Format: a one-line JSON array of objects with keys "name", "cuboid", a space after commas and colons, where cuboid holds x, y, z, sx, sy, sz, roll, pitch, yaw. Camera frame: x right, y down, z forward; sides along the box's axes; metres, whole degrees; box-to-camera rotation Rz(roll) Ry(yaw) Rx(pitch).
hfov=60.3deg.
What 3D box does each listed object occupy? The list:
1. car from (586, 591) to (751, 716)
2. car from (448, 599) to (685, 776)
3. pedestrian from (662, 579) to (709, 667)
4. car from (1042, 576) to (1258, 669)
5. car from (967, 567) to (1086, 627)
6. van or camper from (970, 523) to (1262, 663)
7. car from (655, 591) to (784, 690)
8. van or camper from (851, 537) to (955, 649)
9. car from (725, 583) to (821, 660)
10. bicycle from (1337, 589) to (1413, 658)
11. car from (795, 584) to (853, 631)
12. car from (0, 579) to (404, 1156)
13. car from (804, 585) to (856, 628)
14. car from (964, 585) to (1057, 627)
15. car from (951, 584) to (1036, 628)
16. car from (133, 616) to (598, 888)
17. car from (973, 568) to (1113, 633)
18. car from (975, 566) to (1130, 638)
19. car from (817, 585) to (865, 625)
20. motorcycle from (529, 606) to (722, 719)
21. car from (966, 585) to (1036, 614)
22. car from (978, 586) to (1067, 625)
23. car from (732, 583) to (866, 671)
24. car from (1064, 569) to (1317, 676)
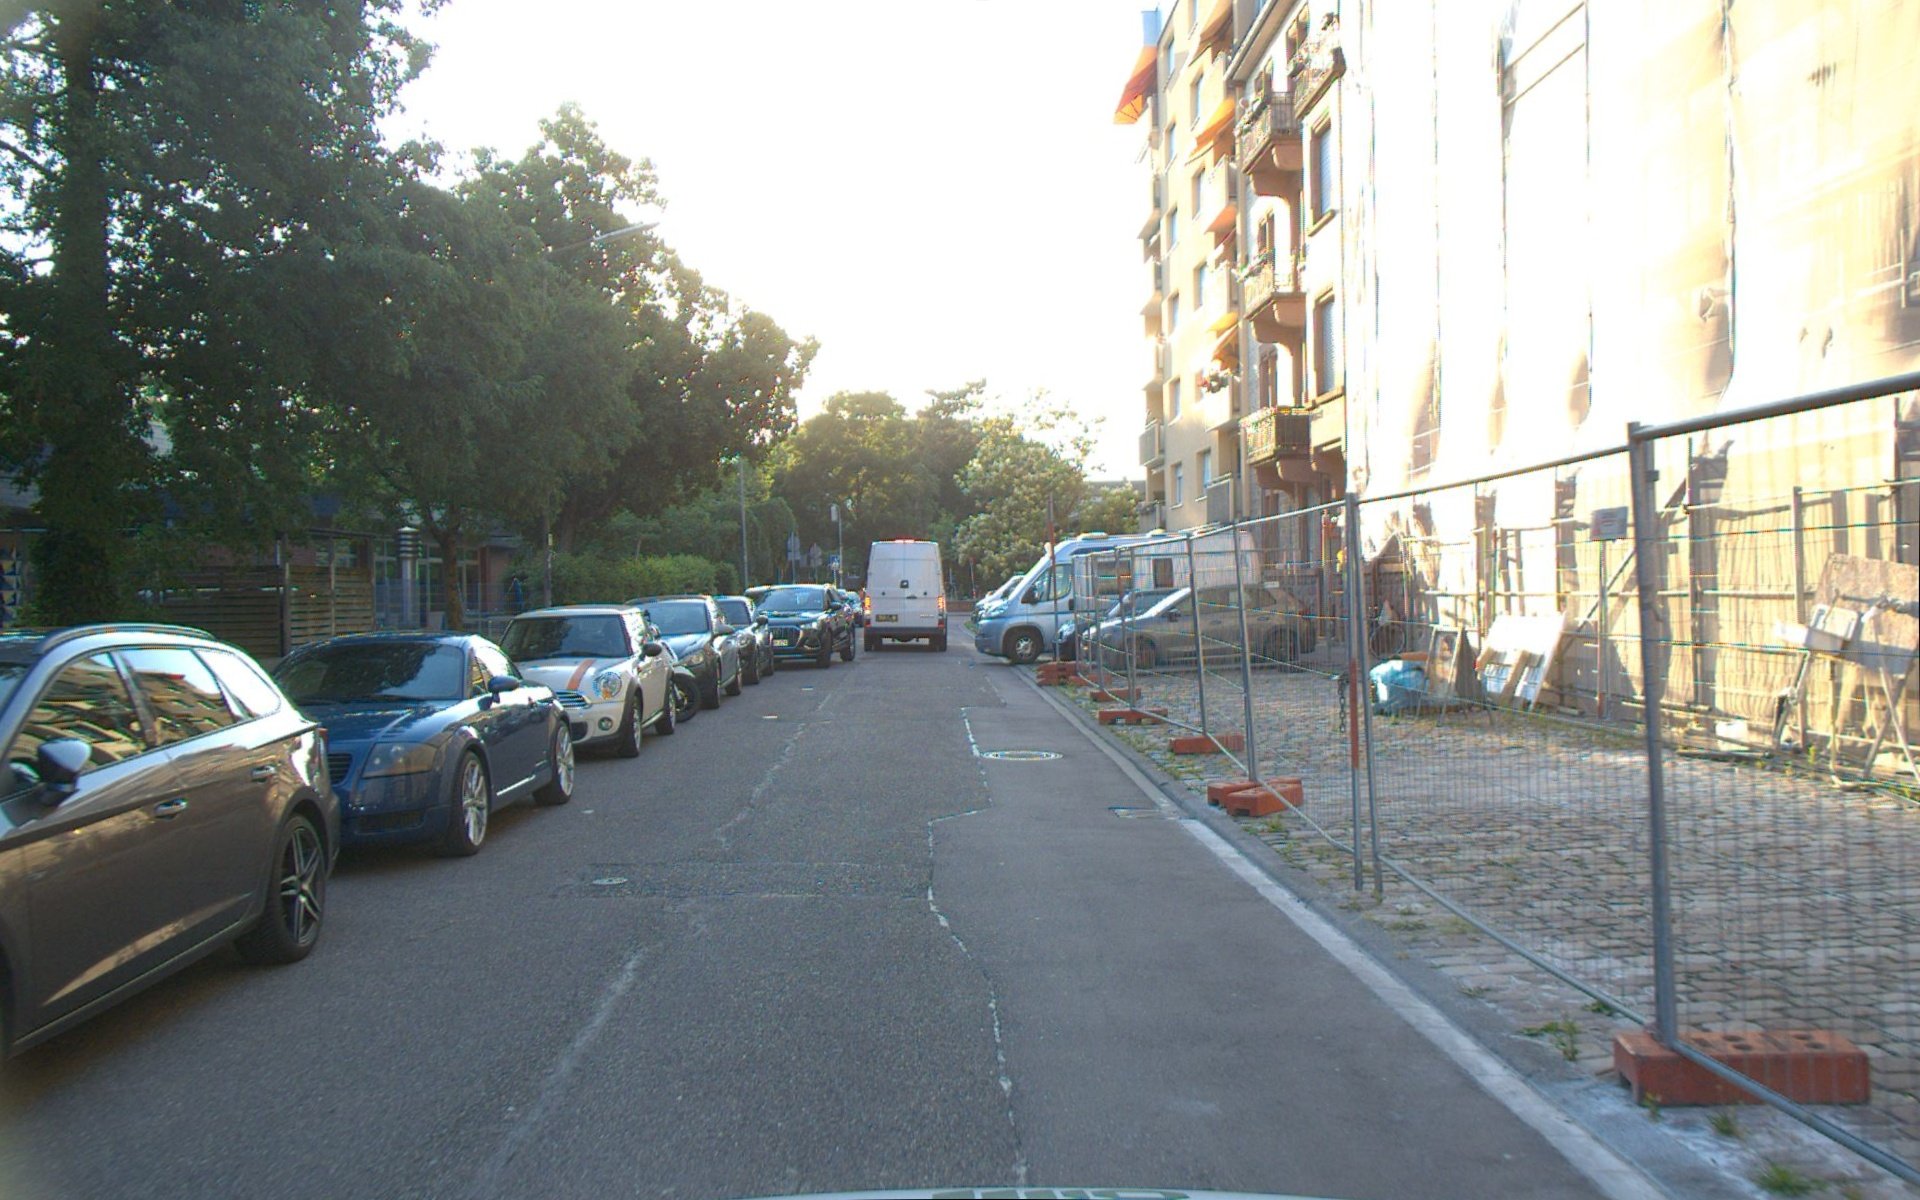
[{"name": "car", "cuboid": [-3.988, 0.668, 23.234, 1.681, 1.522, 4.358, -2, 0, -3]}, {"name": "car", "cuboid": [-3.830, 0.780, 16.676, 1.569, 1.456, 3.801, -4, 0, -3]}, {"name": "pedestrian", "cuboid": [-5.852, 0.480, 35.307, 0.919, 1.862, 0.786, 0, 0, -3]}, {"name": "car", "cuboid": [3.572, 0.432, 31.577, 3.855, 1.512, 1.786, -3, -1, -1]}, {"name": "car", "cuboid": [2.517, -0.125, 63.494, 4.405, 2.269, 2.031, 0, 0, -2]}, {"name": "van or camper", "cuboid": [3.156, -0.141, 34.362, 5.810, 2.818, 2.109, 0, 0, -3]}, {"name": "car", "cuboid": [-4.043, 0.632, 28.398, 1.604, 1.504, 3.992, -3, 0, -1]}, {"name": "van or camper", "cuboid": [-1.413, -0.194, 41.867, 2.404, 2.591, 6.081, 1, 0, -1]}, {"name": "car", "cuboid": [-4.455, 0.485, 39.901, 1.747, 1.659, 4.000, -3, 0, 0]}, {"name": "bicycle", "cuboid": [7.372, 0.399, 29.470, 0.618, 1.189, 2.031, 0, 0, -7]}, {"name": "car", "cuboid": [-4.892, 0.257, 59.960, 1.954, 1.646, 3.998, 0, 0, -3]}, {"name": "car", "cuboid": [-3.585, 0.752, 5.716, 1.822, 1.564, 4.757, -2, 0, -2]}, {"name": "car", "cuboid": [-5.069, 0.223, 64.958, 1.954, 1.646, 3.998, 0, 0, -3]}, {"name": "car", "cuboid": [2.156, 0.255, 71.508, 3.906, 1.758, 2.000, 0, 0, -1]}, {"name": "car", "cuboid": [1.531, 0.263, 76.893, 3.905, 2.049, 2.000, 0, 0, 0]}, {"name": "car", "cuboid": [-3.686, 0.847, 11.074, 1.625, 1.336, 4.154, -2, 0, -1]}, {"name": "car", "cuboid": [2.810, 0.000, 56.793, 4.612, 2.183, 1.999, 0, 0, -3]}, {"name": "car", "cuboid": [2.838, 0.037, 51.303, 4.612, 2.183, 1.999, 0, 0, -3]}, {"name": "car", "cuboid": [-5.058, 0.186, 70.679, 1.954, 1.646, 3.998, 0, 0, -3]}, {"name": "motorcycle", "cuboid": [-4.041, 0.735, 20.039, 2.118, 1.326, 0.880, 0, 0, 13]}, {"name": "car", "cuboid": [2.403, -0.025, 96.833, 3.909, 1.646, 1.998, 0, 0, -5]}, {"name": "car", "cuboid": [2.778, 0.246, 74.565, 3.906, 1.758, 2.000, 0, 0, -1]}, {"name": "car", "cuboid": [-3.147, 0.489, 33.201, 1.766, 1.596, 4.568, -1, 0, 6]}, {"name": "car", "cuboid": [3.945, 0.369, 28.740, 3.911, 1.542, 2.017, -4, 0, -6]}]
